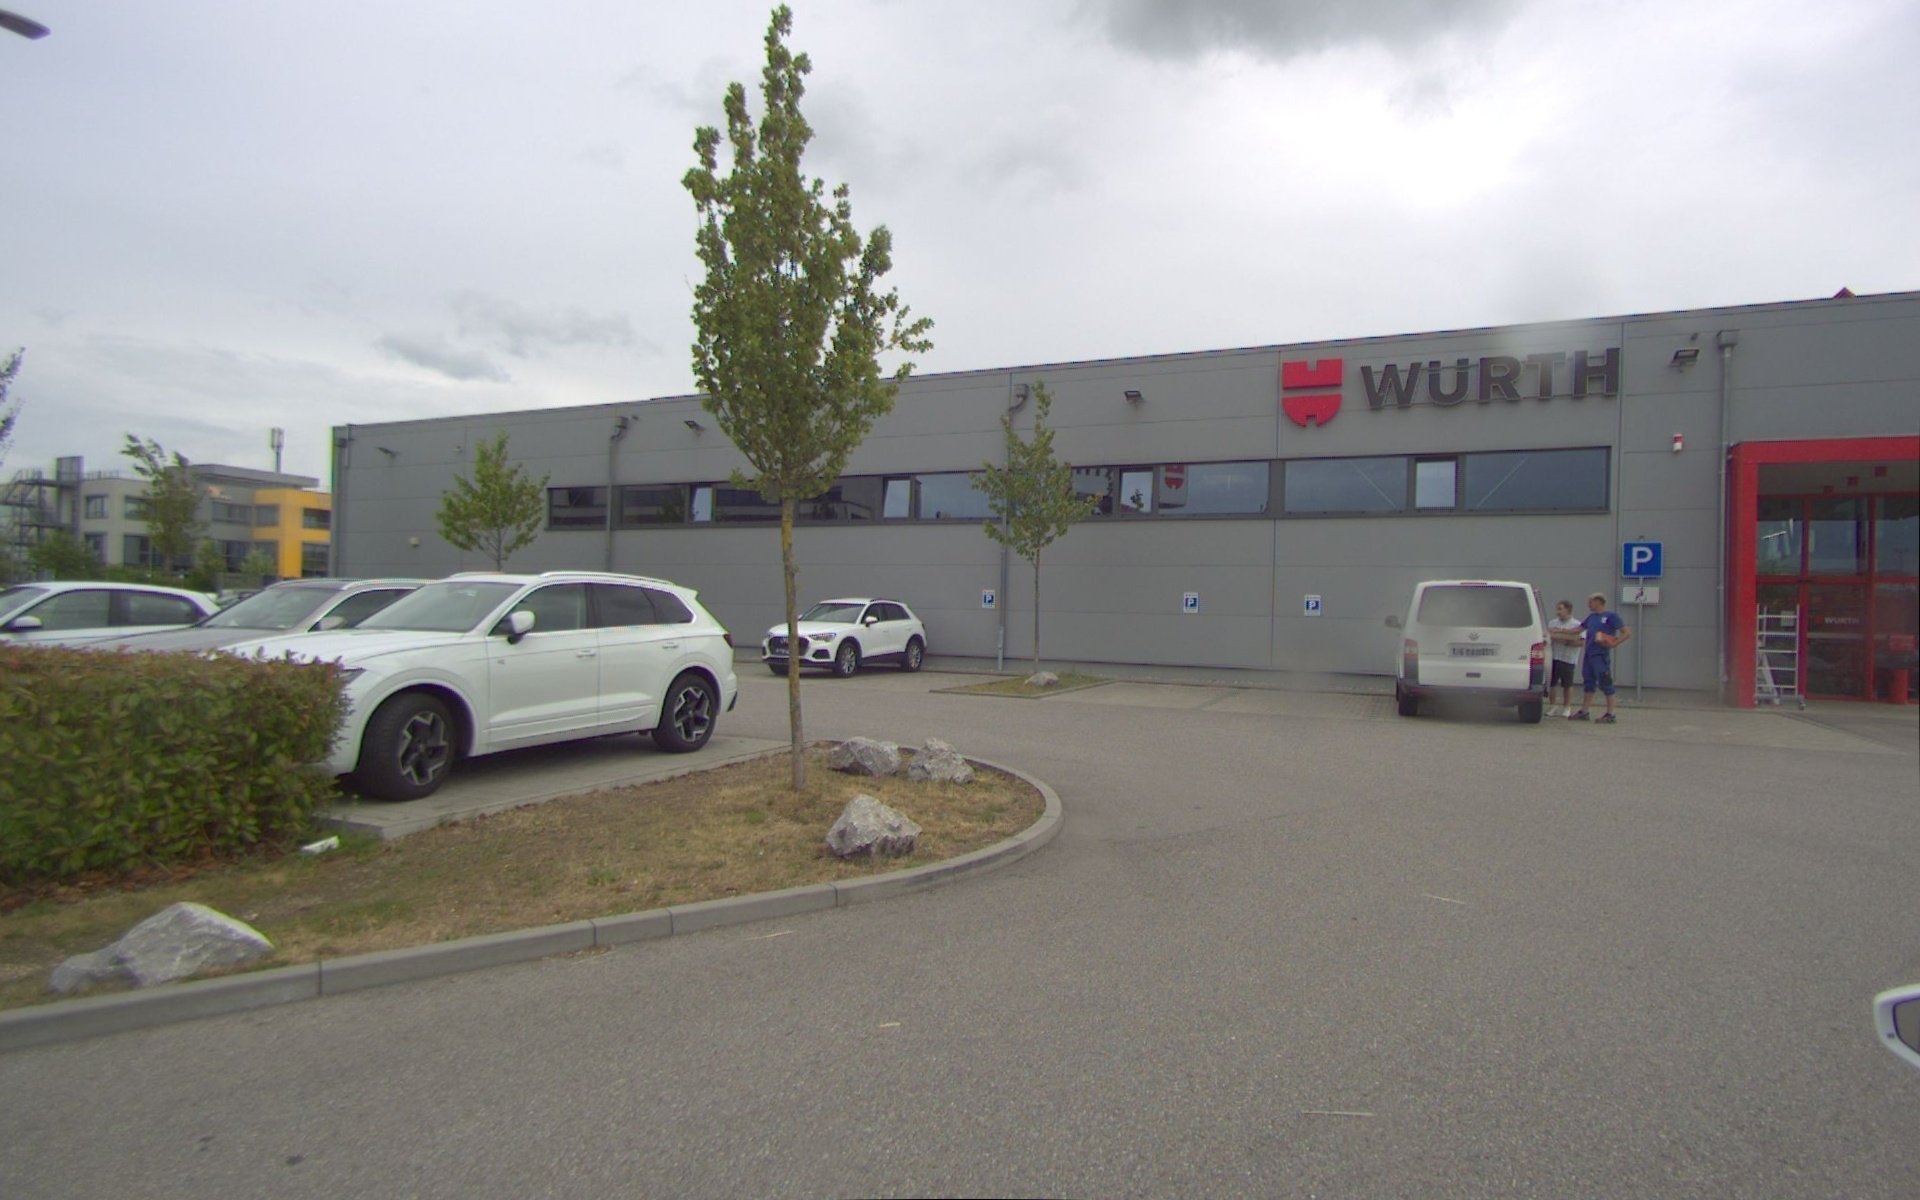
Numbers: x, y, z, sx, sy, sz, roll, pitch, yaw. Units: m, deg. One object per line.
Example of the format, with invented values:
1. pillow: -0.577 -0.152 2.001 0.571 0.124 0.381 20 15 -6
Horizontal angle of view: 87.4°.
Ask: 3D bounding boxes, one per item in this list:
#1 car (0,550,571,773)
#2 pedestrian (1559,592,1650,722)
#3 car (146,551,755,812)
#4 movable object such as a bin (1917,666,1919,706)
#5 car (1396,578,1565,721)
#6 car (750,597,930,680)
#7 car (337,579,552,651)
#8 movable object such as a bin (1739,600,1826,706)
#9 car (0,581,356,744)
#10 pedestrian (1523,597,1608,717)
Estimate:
1. car: -6.411 0.546 10.052 1.963 1.672 4.573 -1 -2 26
2. pedestrian: 9.329 0.817 14.559 0.863 1.826 0.678 1 -1 -4
3. car: -4.046 0.608 8.952 1.963 1.672 4.573 -1 -2 26
4. movable object such as a bin: 17.465 1.535 17.118 1.467 0.713 0.963 2 0 32
5. car: 7.904 0.730 15.478 2.023 1.880 4.058 -1 -2 26
6. car: -2.405 0.757 21.220 1.710 1.572 4.259 -1 -1 27
7. car: -13.123 0.435 25.944 1.962 1.660 4.804 -1 -2 23
8. movable object such as a bin: 13.609 0.875 16.654 0.896 1.694 0.743 -2 -2 26
9. car: -10.098 0.698 12.032 1.963 1.672 4.573 -1 -2 26
10. pedestrian: 9.186 0.849 15.251 0.888 1.775 0.625 1 0 -3
